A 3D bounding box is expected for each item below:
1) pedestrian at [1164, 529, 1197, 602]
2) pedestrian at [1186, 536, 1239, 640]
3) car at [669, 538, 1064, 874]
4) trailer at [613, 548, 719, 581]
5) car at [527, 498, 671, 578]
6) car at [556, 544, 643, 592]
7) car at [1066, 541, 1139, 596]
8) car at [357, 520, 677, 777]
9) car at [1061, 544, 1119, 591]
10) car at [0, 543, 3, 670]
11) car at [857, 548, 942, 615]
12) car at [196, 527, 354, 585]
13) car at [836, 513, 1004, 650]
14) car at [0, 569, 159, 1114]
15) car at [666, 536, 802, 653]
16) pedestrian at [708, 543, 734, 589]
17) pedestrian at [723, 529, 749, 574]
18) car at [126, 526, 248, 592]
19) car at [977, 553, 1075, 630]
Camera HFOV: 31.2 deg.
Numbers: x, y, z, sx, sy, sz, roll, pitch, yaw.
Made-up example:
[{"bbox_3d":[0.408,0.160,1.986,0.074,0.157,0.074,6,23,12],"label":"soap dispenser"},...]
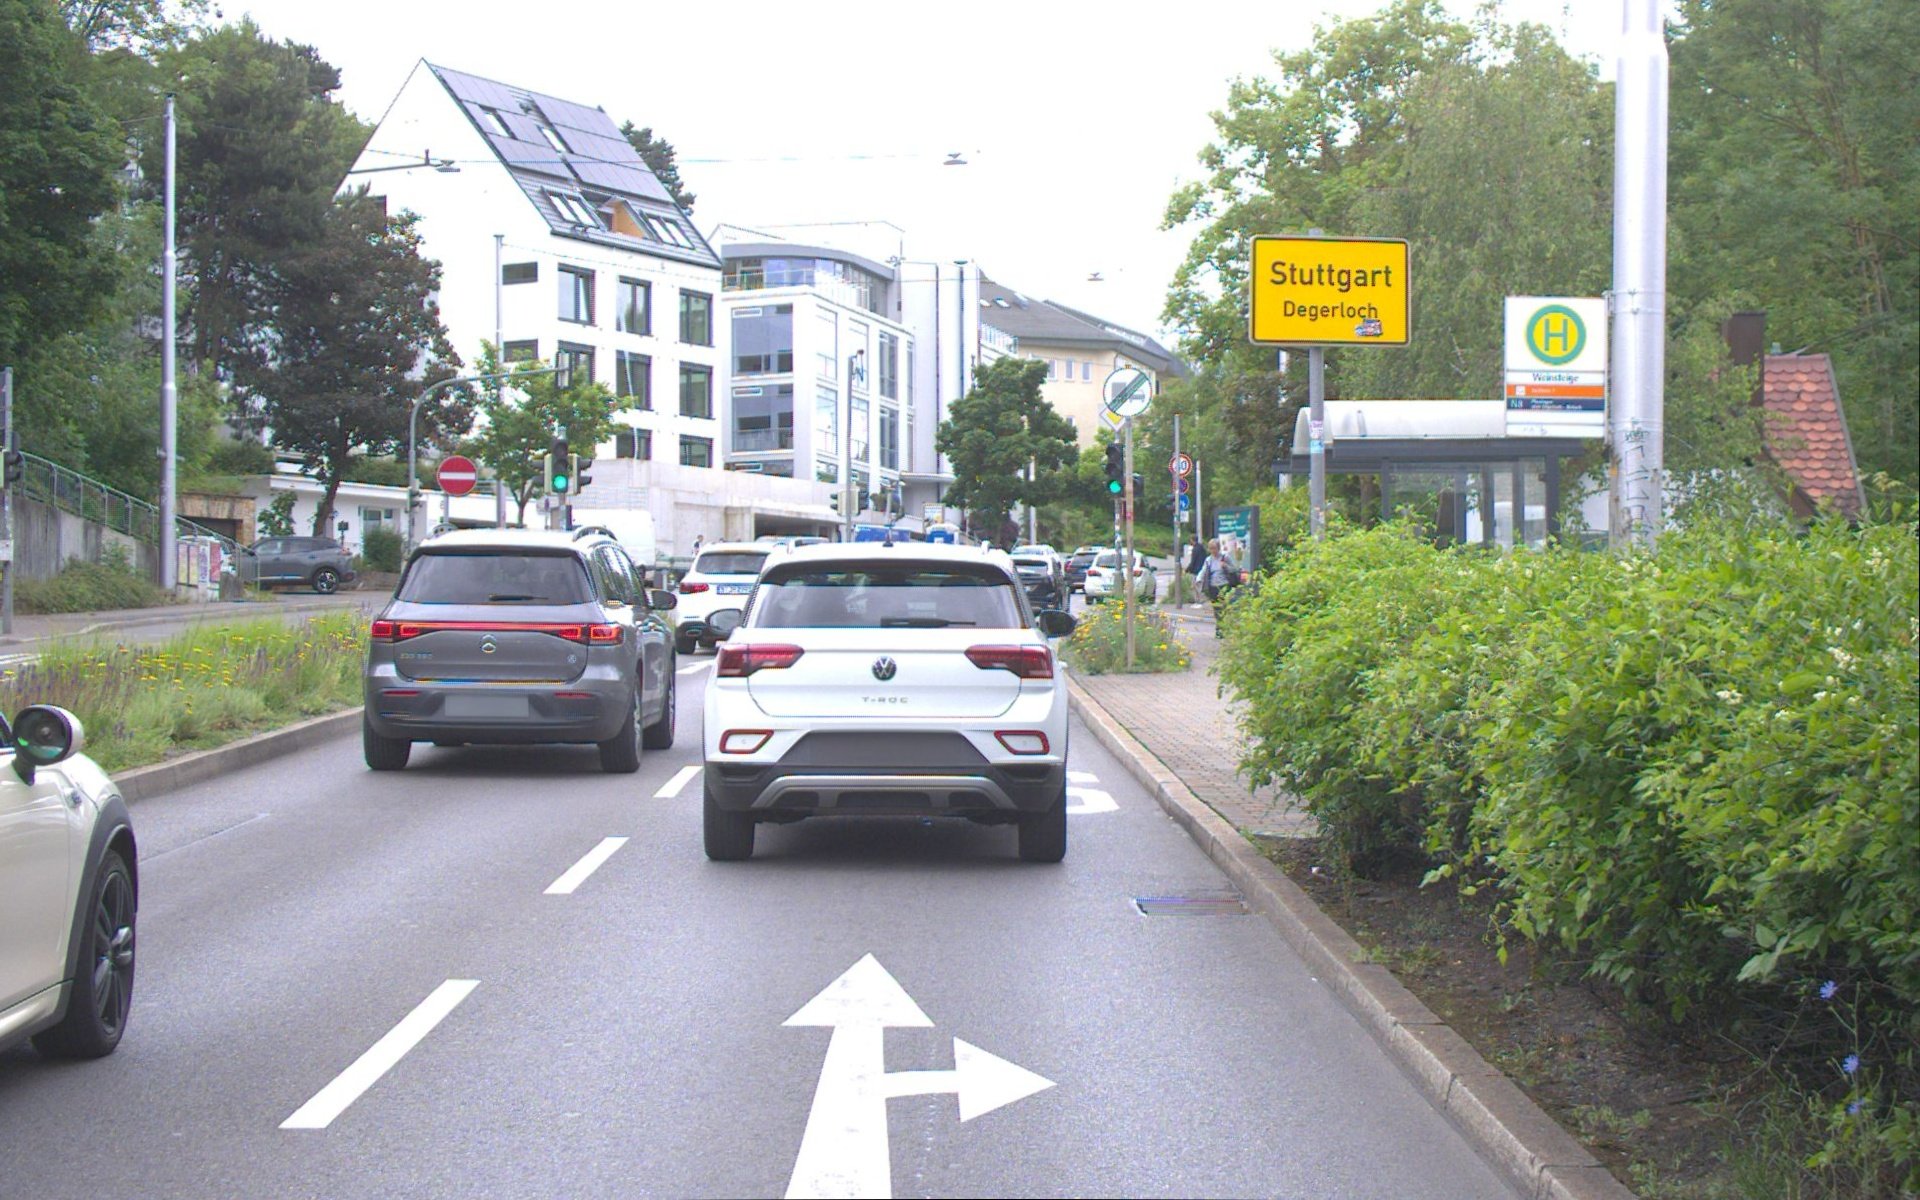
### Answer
[{"bbox_3d":[5.578,-0.878,86.924,0.693,1.827,0.620,1,1,-6],"label":"pedestrian"},{"bbox_3d":[4.147,-0.196,56.462,0.694,1.683,0.619,-1,0,22],"label":"pedestrian"},{"bbox_3d":[-0.490,0.461,17.719,1.811,1.534,3.690,0,1,-2],"label":"car"},{"bbox_3d":[-10.292,-1.251,120.622,2.248,1.108,4.619,0,1,16],"label":"trailer"},{"bbox_3d":[-11.986,-2.066,114.823,2.233,2.559,7.417,0,1,16],"label":"car"},{"bbox_3d":[-11.263,-1.013,107.593,1.622,1.460,3.925,0,1,12],"label":"car"},{"bbox_3d":[3.977,-0.901,96.344,1.858,1.495,4.056,0,1,0],"label":"car"},{"bbox_3d":[-3.055,0.278,24.572,1.812,1.646,4.636,0,1,-2],"label":"car"},{"bbox_3d":[4.262,-1.082,112.286,1.858,1.495,4.055,0,1,3],"label":"car"},{"bbox_3d":[-12.382,0.099,39.753,1.728,1.535,4.044,1,1,-4],"label":"car"},{"bbox_3d":[-1.408,-0.443,78.649,1.858,1.495,4.056,0,1,-2],"label":"car"},{"bbox_3d":[-18.326,-1.181,91.998,4.118,1.534,1.599,0,1,-12],"label":"car"},{"bbox_3d":[-0.443,-0.248,42.476,1.873,1.496,4.555,3,1,1],"label":"car"},{"bbox_3d":[-3.287,0.635,8.717,1.628,1.388,3.566,0,1,1],"label":"car"},{"bbox_3d":[-3.322,-0.112,51.250,1.858,1.646,4.636,0,1,-2],"label":"car"},{"bbox_3d":[-8.722,-1.233,125.497,0.674,1.634,0.672,1,1,-32],"label":"pedestrian"},{"bbox_3d":[-8.391,-1.814,128.610,0.674,1.634,0.672,1,1,-32],"label":"pedestrian"},{"bbox_3d":[-19.640,-1.038,87.360,2.701,1.515,1.564,3,0,-23],"label":"car"},{"bbox_3d":[1.447,-0.210,73.739,1.873,1.496,4.555,3,1,3],"label":"car"}]
